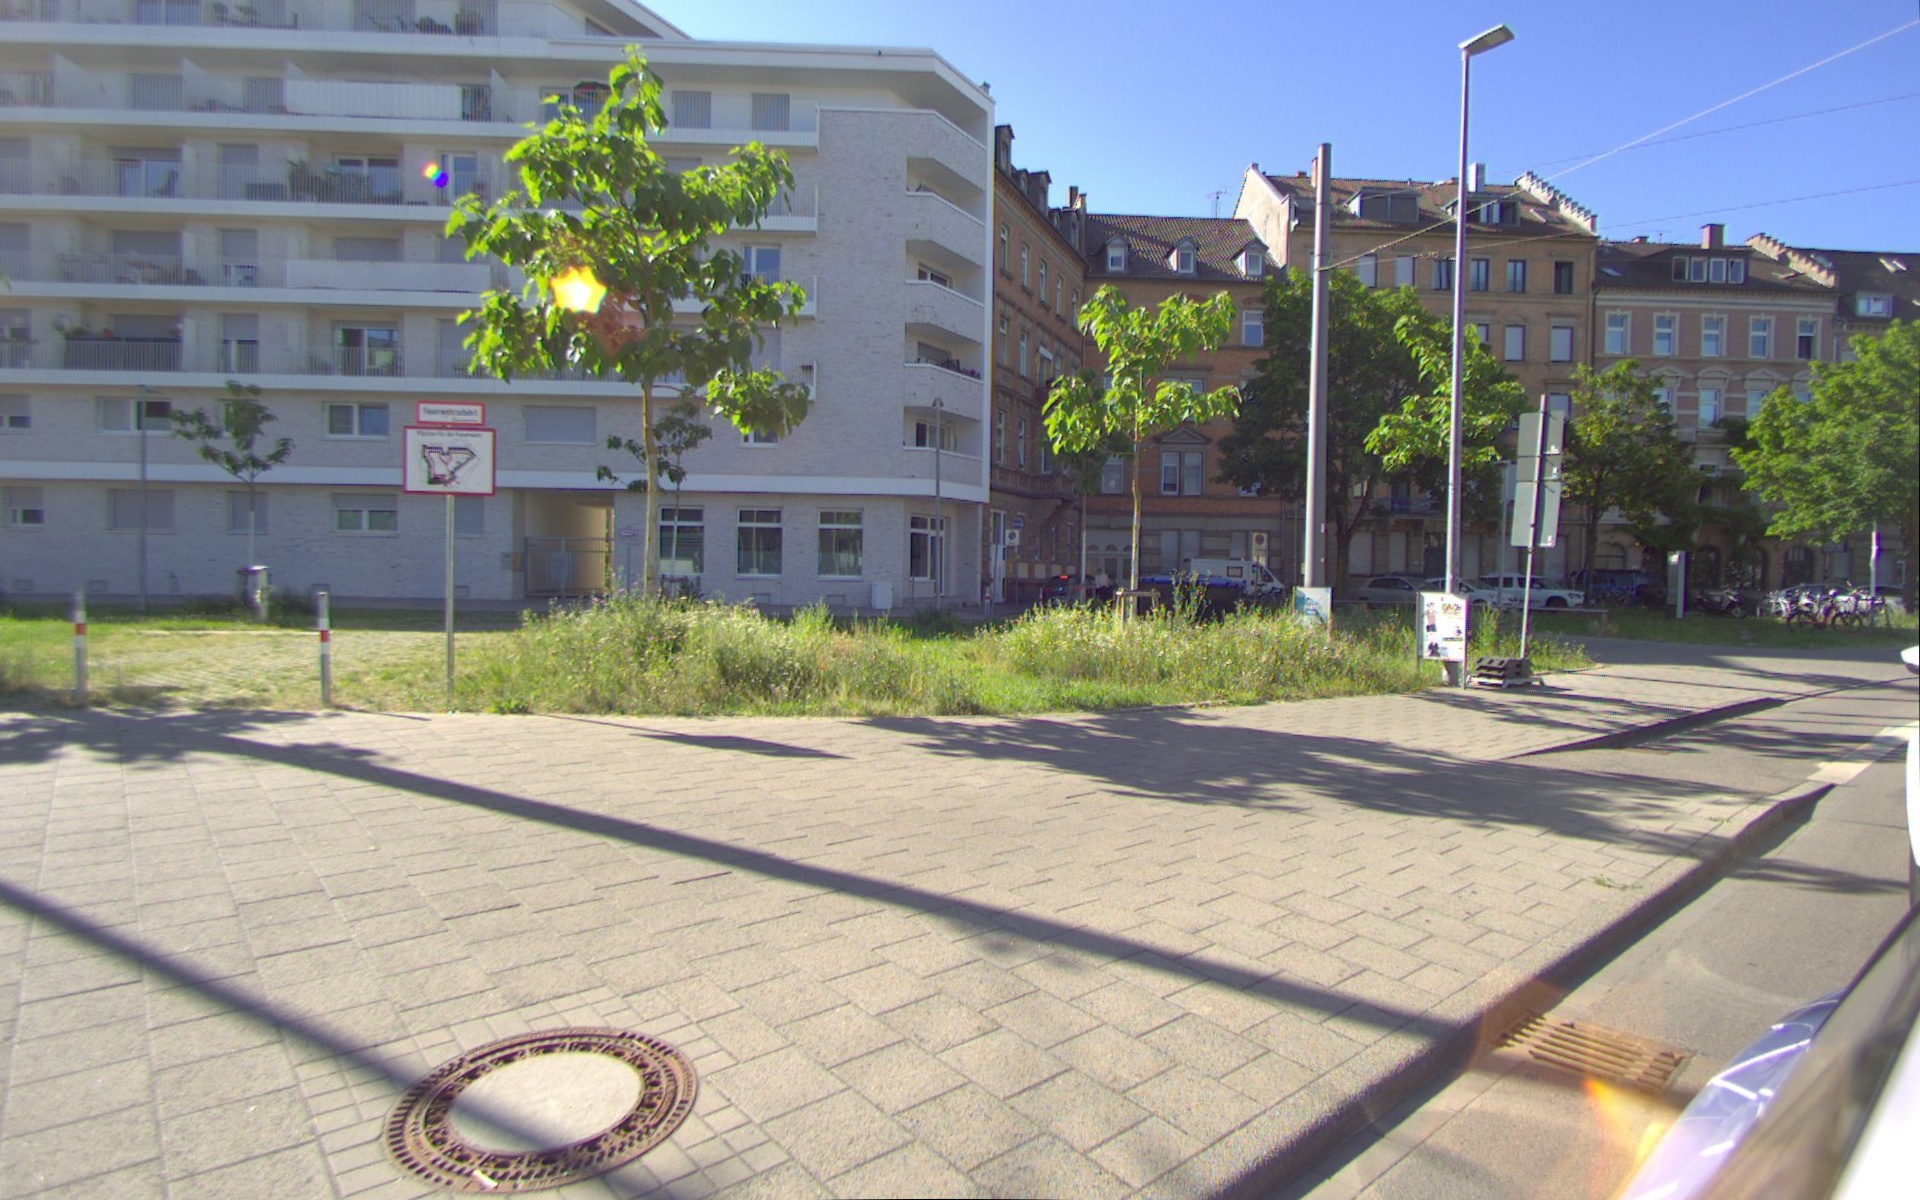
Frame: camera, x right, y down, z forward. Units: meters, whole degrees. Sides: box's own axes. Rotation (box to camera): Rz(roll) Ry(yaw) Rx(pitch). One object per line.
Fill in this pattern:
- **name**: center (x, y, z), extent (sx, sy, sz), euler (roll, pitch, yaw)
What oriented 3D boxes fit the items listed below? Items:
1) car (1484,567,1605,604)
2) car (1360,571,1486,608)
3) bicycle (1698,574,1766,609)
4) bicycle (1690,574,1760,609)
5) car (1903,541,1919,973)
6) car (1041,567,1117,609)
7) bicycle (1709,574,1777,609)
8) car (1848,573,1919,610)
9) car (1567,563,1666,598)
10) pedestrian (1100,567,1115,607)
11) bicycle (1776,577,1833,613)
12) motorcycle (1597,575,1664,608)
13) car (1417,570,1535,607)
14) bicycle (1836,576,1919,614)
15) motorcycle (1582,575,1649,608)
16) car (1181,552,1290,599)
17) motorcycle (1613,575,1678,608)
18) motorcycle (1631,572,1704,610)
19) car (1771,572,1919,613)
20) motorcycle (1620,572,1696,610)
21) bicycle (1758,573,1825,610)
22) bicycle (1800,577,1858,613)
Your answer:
- **car**: center (22.328, -0.586, 38.776), extent (1.513, 1.267, 3.700), euler (-1, 3, -39)
- **car**: center (17.348, -0.430, 38.110), extent (1.648, 1.267, 4.170), euler (0, 3, -28)
- **bicycle**: center (29.080, -0.328, 38.155), extent (0.649, 1.284, 2.208), euler (0, 0, -9)
- **bicycle**: center (28.369, -0.318, 37.568), extent (0.649, 1.284, 2.208), euler (0, 0, -11)
- **car**: center (5.868, 0.603, 4.719), extent (4.323, 1.667, 1.840), euler (0, 0, -43)
- **car**: center (4.566, -0.512, 38.301), extent (1.811, 1.444, 4.359), euler (1, 2, 21)
- **bicycle**: center (29.723, -0.334, 38.466), extent (0.649, 1.284, 2.208), euler (0, 0, -9)
- **car**: center (37.821, -0.338, 39.965), extent (1.649, 1.423, 3.832), euler (-1, 3, -32)
- **car**: center (30.875, -0.930, 47.653), extent (3.631, 1.607, 1.552), euler (1, 2, 0)
- **pedestrian**: center (5.481, -0.473, 37.563), extent (0.500, 1.474, 0.480), euler (0, 0, 11)
- **bicycle**: center (30.940, -0.193, 37.114), extent (0.653, 1.284, 2.196), euler (0, 0, 12)
- **motorcycle**: center (26.696, -0.345, 40.360), extent (0.649, 1.300, 2.324), euler (0, 0, -18)
- **car**: center (19.671, -0.476, 38.721), extent (1.648, 1.267, 3.709), euler (0, 3, -28)
- **bicycle**: center (31.629, -0.174, 34.766), extent (2.180, 1.284, 0.657), euler (0, 0, 25)
- **motorcycle**: center (26.026, -0.336, 40.229), extent (0.649, 1.293, 2.324), euler (0, 0, -18)
- **car**: center (12.660, -1.163, 46.786), extent (4.416, 2.062, 2.054), euler (1, 2, 0)
- **motorcycle**: center (27.487, -0.343, 40.614), extent (0.649, 1.284, 2.209), euler (0, 0, -18)
- **motorcycle**: center (26.153, -0.329, 37.472), extent (0.649, 1.339, 2.208), euler (0, 0, -23)
- **car**: center (34.685, -0.329, 39.596), extent (1.651, 1.423, 4.324), euler (-1, 3, -38)
- **motorcycle**: center (25.338, -0.314, 36.783), extent (0.650, 1.347, 2.207), euler (0, 0, -28)
- **bicycle**: center (29.273, -0.300, 35.677), extent (0.651, 1.284, 2.202), euler (0, 0, 4)
- **bicycle**: center (32.034, -0.201, 37.337), extent (0.653, 1.284, 2.196), euler (0, 0, 12)
